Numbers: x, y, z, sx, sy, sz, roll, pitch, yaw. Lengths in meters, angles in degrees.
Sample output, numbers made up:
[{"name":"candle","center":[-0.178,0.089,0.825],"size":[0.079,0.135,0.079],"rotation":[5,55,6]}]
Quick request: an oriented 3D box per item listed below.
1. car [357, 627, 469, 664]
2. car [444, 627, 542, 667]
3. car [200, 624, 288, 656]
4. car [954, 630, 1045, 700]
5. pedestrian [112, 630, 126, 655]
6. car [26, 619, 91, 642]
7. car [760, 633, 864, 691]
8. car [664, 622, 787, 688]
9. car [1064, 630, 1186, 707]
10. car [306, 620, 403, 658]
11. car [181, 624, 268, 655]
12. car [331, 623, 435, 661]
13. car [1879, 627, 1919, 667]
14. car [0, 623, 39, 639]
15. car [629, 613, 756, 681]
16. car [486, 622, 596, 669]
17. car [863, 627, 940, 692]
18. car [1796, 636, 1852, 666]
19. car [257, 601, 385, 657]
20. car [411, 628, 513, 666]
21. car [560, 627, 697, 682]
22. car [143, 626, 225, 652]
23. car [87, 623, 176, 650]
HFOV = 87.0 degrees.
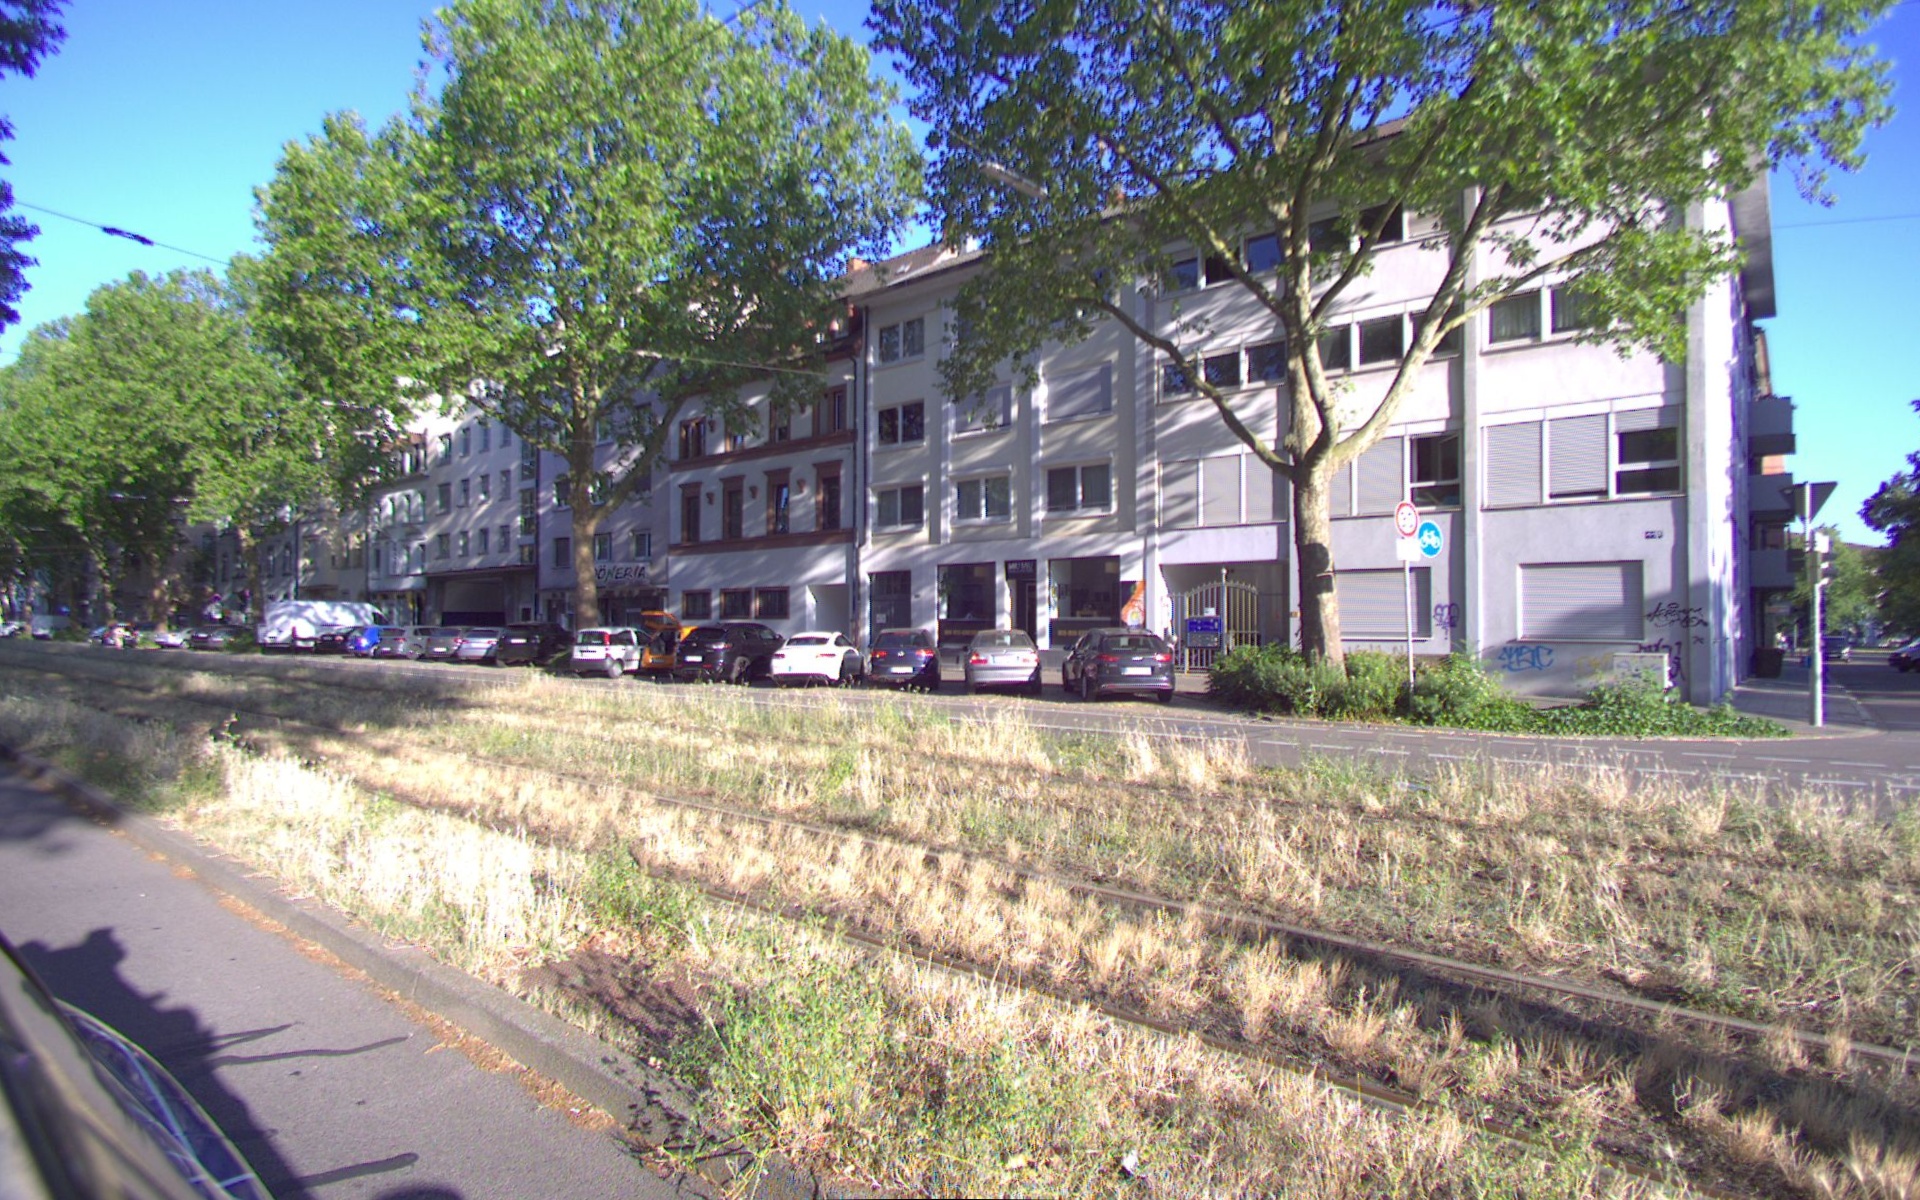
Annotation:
[{"name":"car","center":[-23.842,1.939,44.263],"size":[1.985,1.530,3.973],"rotation":[0,-2,20]},{"name":"car","center":[-18.114,1.792,39.474],"size":[1.582,1.470,4.251],"rotation":[0,-2,4]},{"name":"car","center":[-42.537,2.369,60.227],"size":[1.980,1.830,3.982],"rotation":[0,-2,13]},{"name":"car","center":[0.817,1.425,23.261],"size":[1.717,1.443,3.973],"rotation":[-1,-2,-2]},{"name":"pedestrian","center":[-54.546,2.753,65.657],"size":[0.422,1.610,0.612],"rotation":[-1,-2,41]},{"name":"car","center":[-88.312,3.018,99.255],"size":[2.071,2.230,4.943],"rotation":[0,-2,-2]},{"name":"car","center":[-3.781,1.562,26.573],"size":[2.123,1.388,4.257],"rotation":[0,-2,0]},{"name":"car","center":[-6.487,1.496,28.529],"size":[2.126,1.697,4.250],"rotation":[0,-2,6]},{"name":"car","center":[3.328,1.359,21.178],"size":[1.746,1.443,3.973],"rotation":[0,-2,-2]},{"name":"car","center":[-30.523,1.949,51.180],"size":[1.980,1.830,3.982],"rotation":[0,-2,13]},{"name":"car","center":[-45.131,2.423,62.221],"size":[1.980,1.830,3.982],"rotation":[0,-2,13]},{"name":"car","center":[-26.271,1.887,46.235],"size":[1.980,1.630,3.982],"rotation":[0,-2,13]},{"name":"car","center":[50.276,2.387,51.013],"size":[5.396,2.029,1.982],"rotation":[-1,-2,26]},{"name":"car","center":[-106.746,3.476,114.320],"size":[3.937,1.827,1.876],"rotation":[2,-2,-40]},{"name":"car","center":[-8.275,1.428,31.682],"size":[1.508,1.958,4.221],"rotation":[-1,-2,25]},{"name":"car","center":[-15.285,1.623,37.180],"size":[1.884,1.626,4.248],"rotation":[0,-2,7]},{"name":"car","center":[-1.449,1.449,25.620],"size":[1.805,1.516,3.973],"rotation":[0,-2,-2]},{"name":"car","center":[62.781,3.665,73.615],"size":[1.991,2.029,5.371],"rotation":[-1,-2,29]},{"name":"car","center":[-33.078,1.507,52.614],"size":[2.161,2.721,5.583],"rotation":[0,-2,16]},{"name":"car","center":[-20.451,1.907,41.781],"size":[1.883,1.468,4.251],"rotation":[0,-2,4]},{"name":"car","center":[-10.268,1.649,31.662],"size":[1.634,1.569,4.221],"rotation":[-1,-2,25]},{"name":"car","center":[-51.736,2.592,67.534],"size":[1.980,1.719,3.982],"rotation":[0,-2,13]},{"name":"car","center":[-54.839,2.430,67.060],"size":[1.996,1.719,4.184],"rotation":[-1,-2,36]}]
